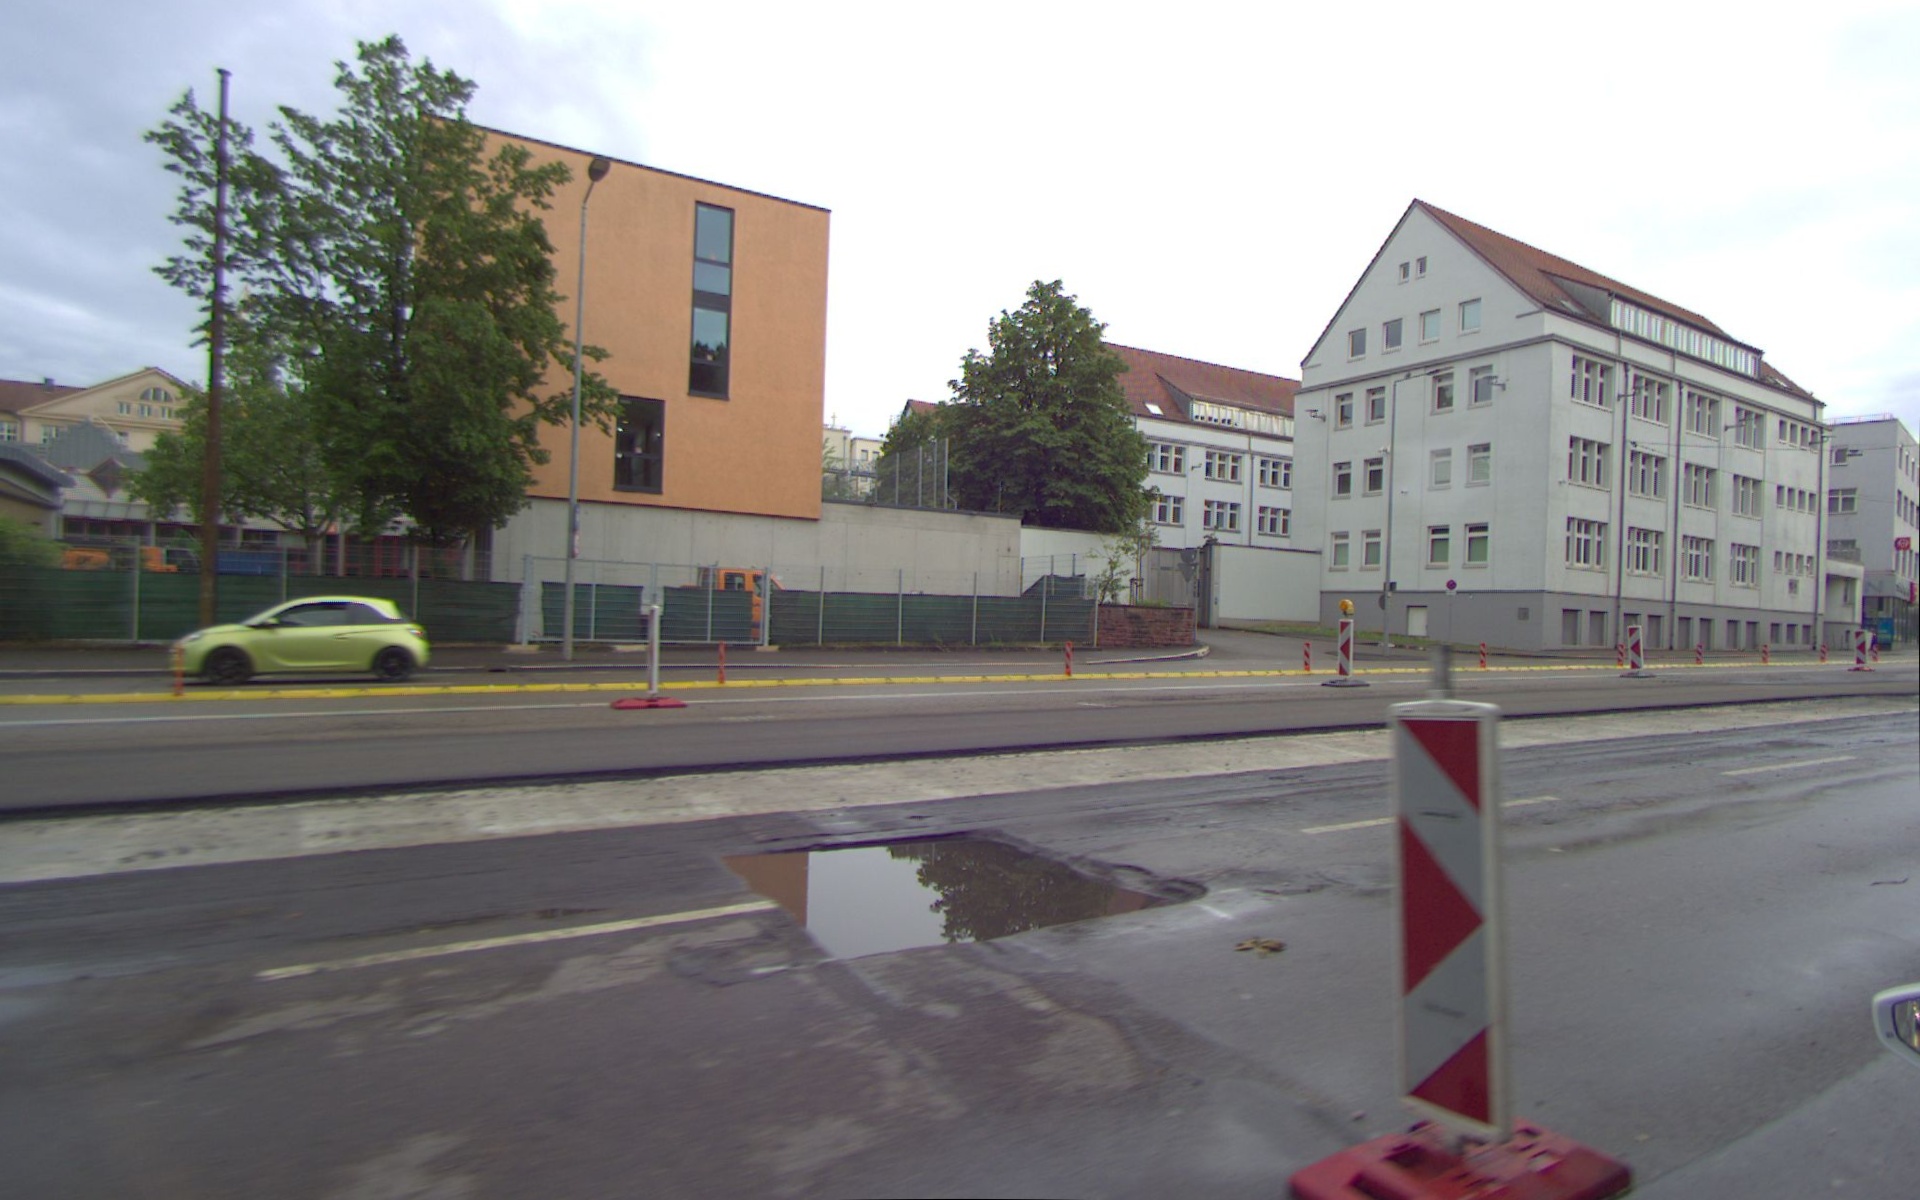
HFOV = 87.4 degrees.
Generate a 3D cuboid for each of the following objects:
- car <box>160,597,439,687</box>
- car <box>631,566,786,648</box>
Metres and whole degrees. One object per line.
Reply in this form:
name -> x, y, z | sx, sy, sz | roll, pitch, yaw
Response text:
car -> -10.985, 0.703, 17.003 | 3.761, 1.386, 1.546 | 2, -2, -31
car -> -7.140, 0.238, 28.609 | 3.954, 2.199, 1.602 | 1, 0, -31
